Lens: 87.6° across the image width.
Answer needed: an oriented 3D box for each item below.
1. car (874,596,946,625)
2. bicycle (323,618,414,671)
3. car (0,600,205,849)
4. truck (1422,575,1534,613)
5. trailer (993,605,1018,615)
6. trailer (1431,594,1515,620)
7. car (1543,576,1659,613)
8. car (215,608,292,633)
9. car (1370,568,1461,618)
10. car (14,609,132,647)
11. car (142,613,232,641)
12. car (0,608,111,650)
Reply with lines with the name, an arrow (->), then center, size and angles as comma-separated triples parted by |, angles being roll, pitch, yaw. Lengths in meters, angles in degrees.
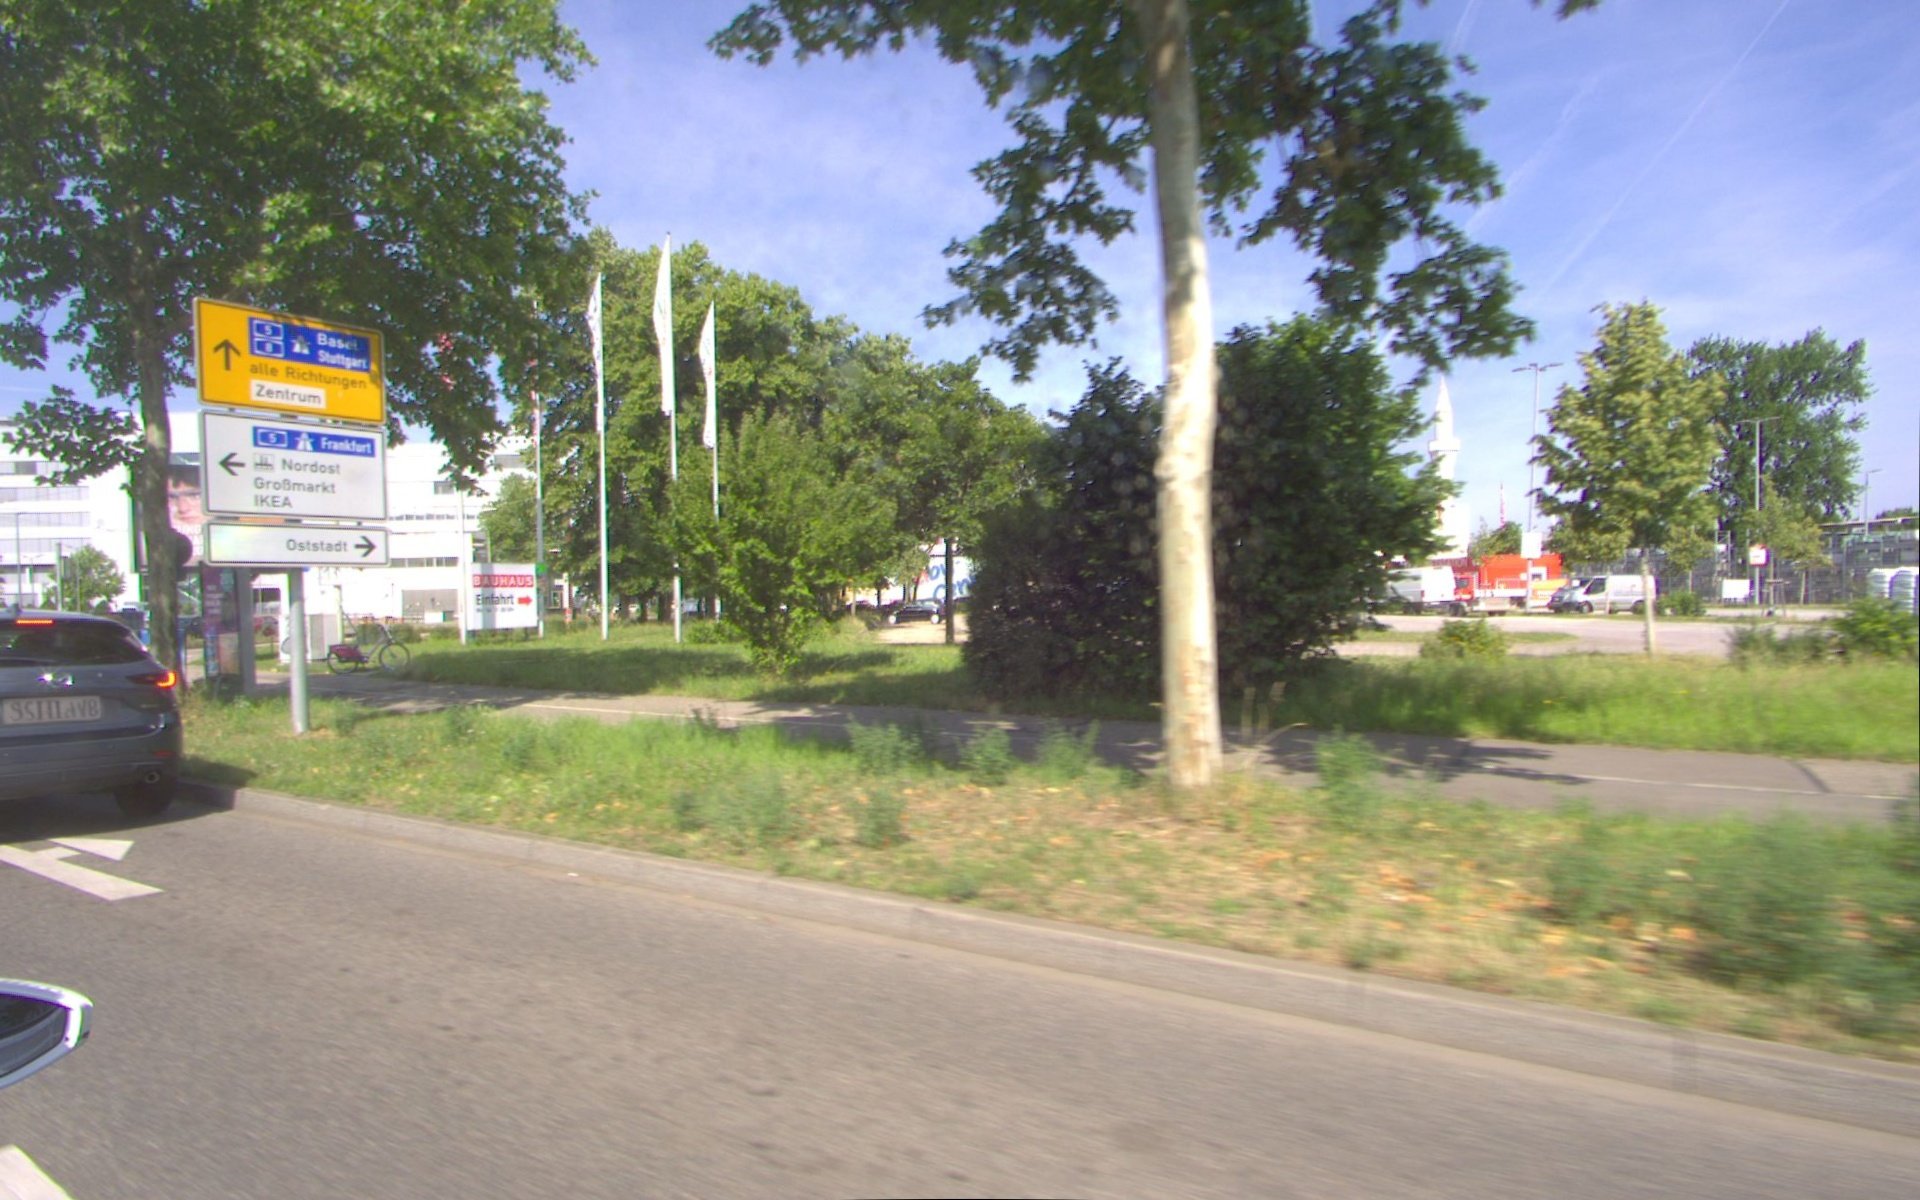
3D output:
car -> -2.913, 0.611, 58.912 | 3.972, 1.608, 1.730 | -1, 0, 4
bicycle -> -14.094, 1.046, 23.904 | 1.770, 1.123, 0.499 | -3, 2, -39
car -> -8.200, 0.887, 8.188 | 4.431, 1.680, 1.763 | -1, -2, 32
truck -> 31.470, -0.359, 60.913 | 5.751, 2.168, 2.066 | -1, 0, -1
trailer -> 4.011, 0.853, 88.749 | 2.059, 0.792, 4.411 | -1, 0, 1
trailer -> 25.743, 0.333, 50.384 | 2.029, 1.137, 4.031 | -3, 0, -2
car -> 32.011, -0.291, 50.088 | 4.737, 1.841, 1.873 | 0, 2, -6
car -> -44.145, 1.262, 62.670 | 1.747, 1.463, 4.625 | -1, 0, -4
car -> 25.344, -0.375, 55.975 | 1.980, 2.576, 5.687 | -3, 0, -5
car -> -43.789, 1.349, 49.590 | 1.879, 1.711, 4.625 | -1, 0, -4
car -> -43.906, 1.515, 57.030 | 1.747, 1.463, 4.625 | -1, 0, -4
car -> -40.358, 1.227, 44.263 | 1.879, 1.711, 4.625 | -1, 0, -4
